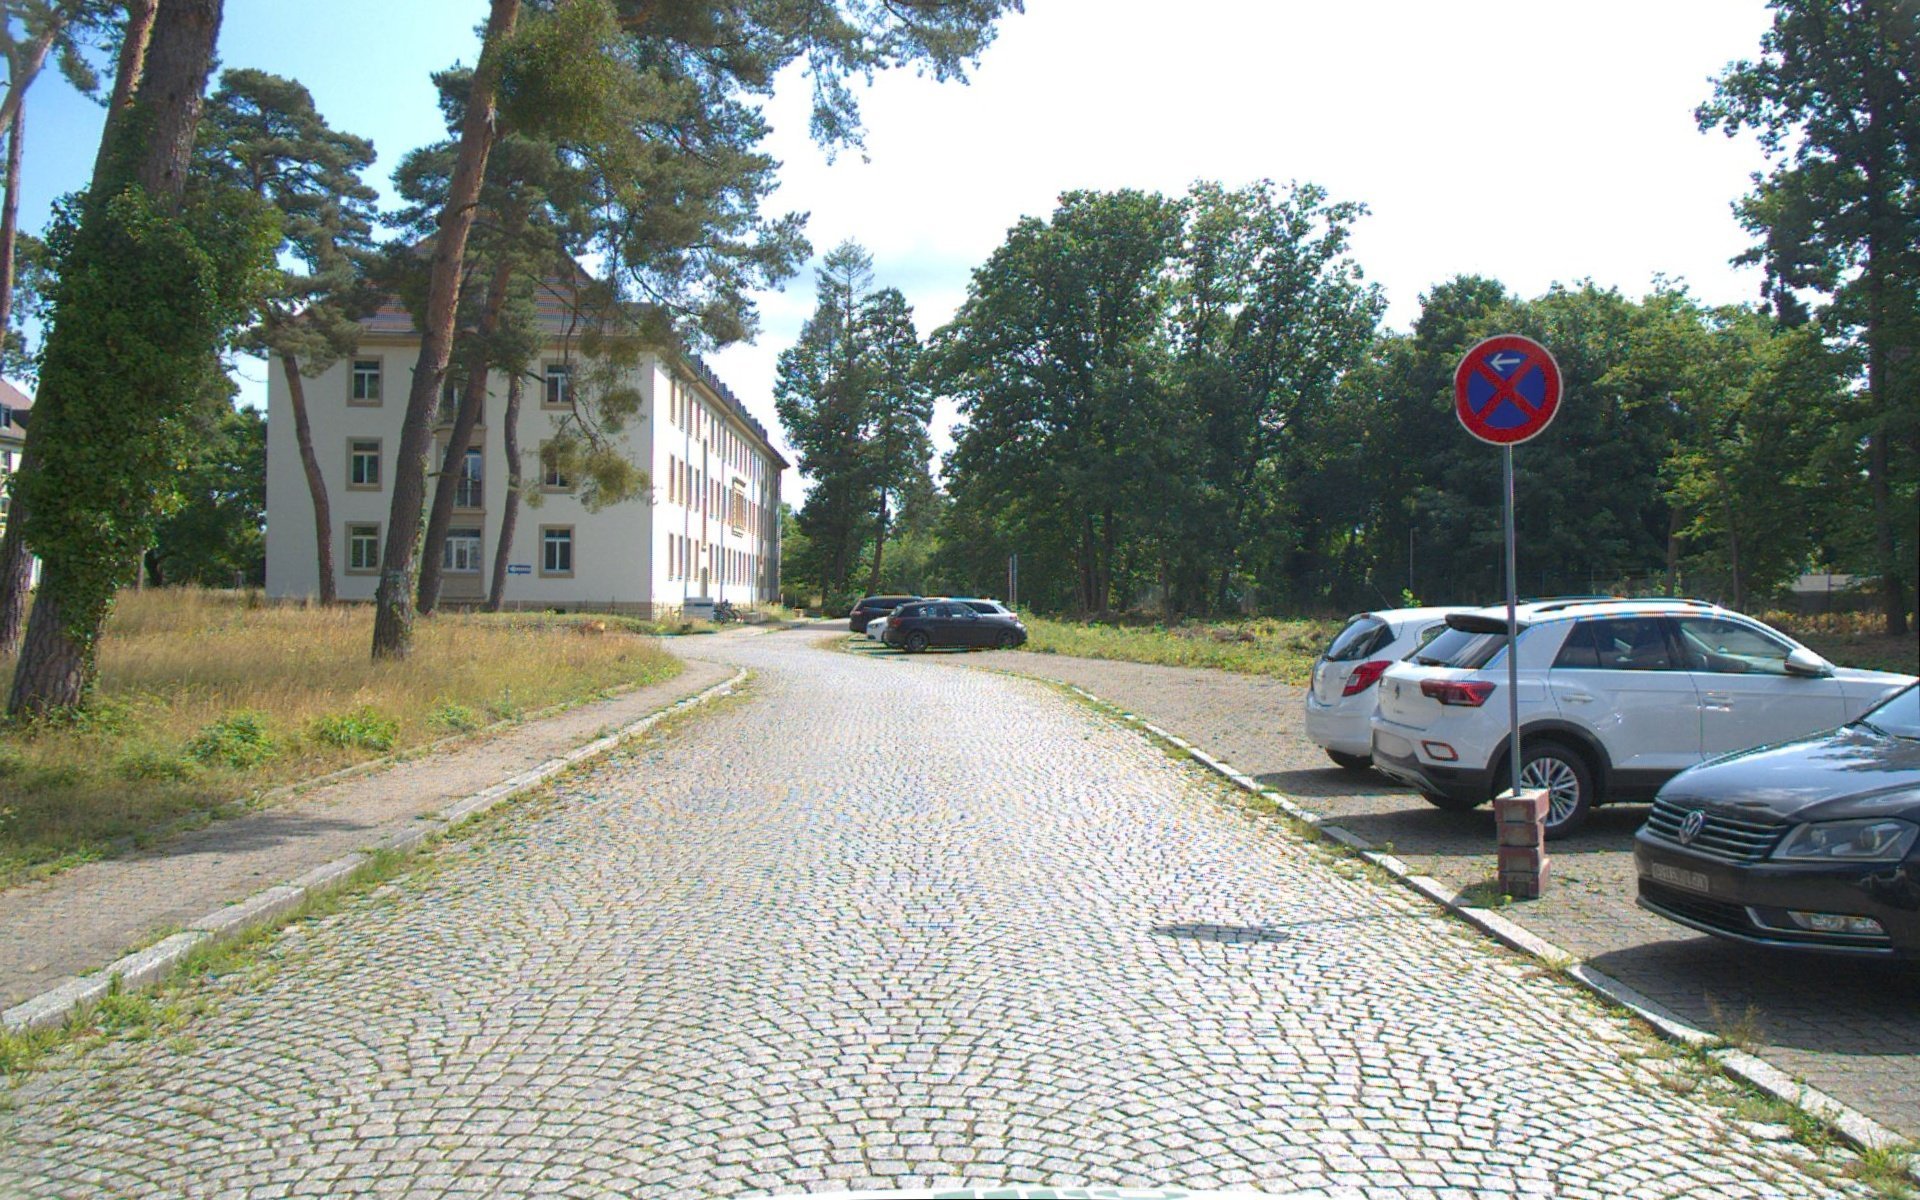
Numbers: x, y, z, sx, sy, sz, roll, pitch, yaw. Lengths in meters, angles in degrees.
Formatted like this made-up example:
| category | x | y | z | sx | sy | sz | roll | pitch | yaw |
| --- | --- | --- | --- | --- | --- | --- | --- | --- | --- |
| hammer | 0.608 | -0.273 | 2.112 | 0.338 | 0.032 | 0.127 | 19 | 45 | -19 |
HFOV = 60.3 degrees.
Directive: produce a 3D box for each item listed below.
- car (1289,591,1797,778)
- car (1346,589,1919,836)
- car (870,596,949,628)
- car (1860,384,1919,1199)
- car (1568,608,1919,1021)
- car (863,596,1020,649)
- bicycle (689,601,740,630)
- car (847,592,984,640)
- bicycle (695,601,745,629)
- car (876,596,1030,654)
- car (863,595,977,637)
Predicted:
| category | x | y | z | sx | sy | sz | roll | pitch | yaw |
| --- | --- | --- | --- | --- | --- | --- | --- | --- | --- |
| car | 5.146 | 0.711 | 14.895 | 3.963 | 1.489 | 1.702 | -1 | 0 | -5 |
| car | 4.935 | 0.725 | 11.764 | 3.909 | 1.533 | 1.745 | -1 | 0 | -5 |
| car | -2.621 | 0.618 | 86.859 | 4.101 | 1.570 | 1.820 | -1 | -1 | 0 |
| car | 3.147 | 0.550 | 1.170 | 1.875 | 2.089 | 5.677 | 0 | 0 | -1 |
| car | 5.184 | 0.782 | 7.303 | 4.368 | 1.501 | 1.743 | -1 | 0 | -6 |
| car | -0.611 | 0.689 | 51.442 | 4.765 | 1.498 | 1.873 | -1 | 1 | -4 |
| bicycle | -11.042 | 0.696 | 74.507 | 2.175 | 1.282 | 0.623 | 0 | 0 | 4 |
| car | -1.597 | 0.571 | 58.760 | 4.756 | 1.580 | 1.878 | -1 | -1 | -4 |
| bicycle | -10.966 | 0.670 | 75.540 | 2.176 | 1.282 | 0.623 | 0 | 0 | 0 |
| car | -0.234 | 0.704 | 48.238 | 4.246 | 1.526 | 1.826 | -1 | 1 | -10 |
| car | -1.568 | 0.622 | 64.077 | 4.311 | 1.510 | 1.764 | -1 | -1 | -4 |
